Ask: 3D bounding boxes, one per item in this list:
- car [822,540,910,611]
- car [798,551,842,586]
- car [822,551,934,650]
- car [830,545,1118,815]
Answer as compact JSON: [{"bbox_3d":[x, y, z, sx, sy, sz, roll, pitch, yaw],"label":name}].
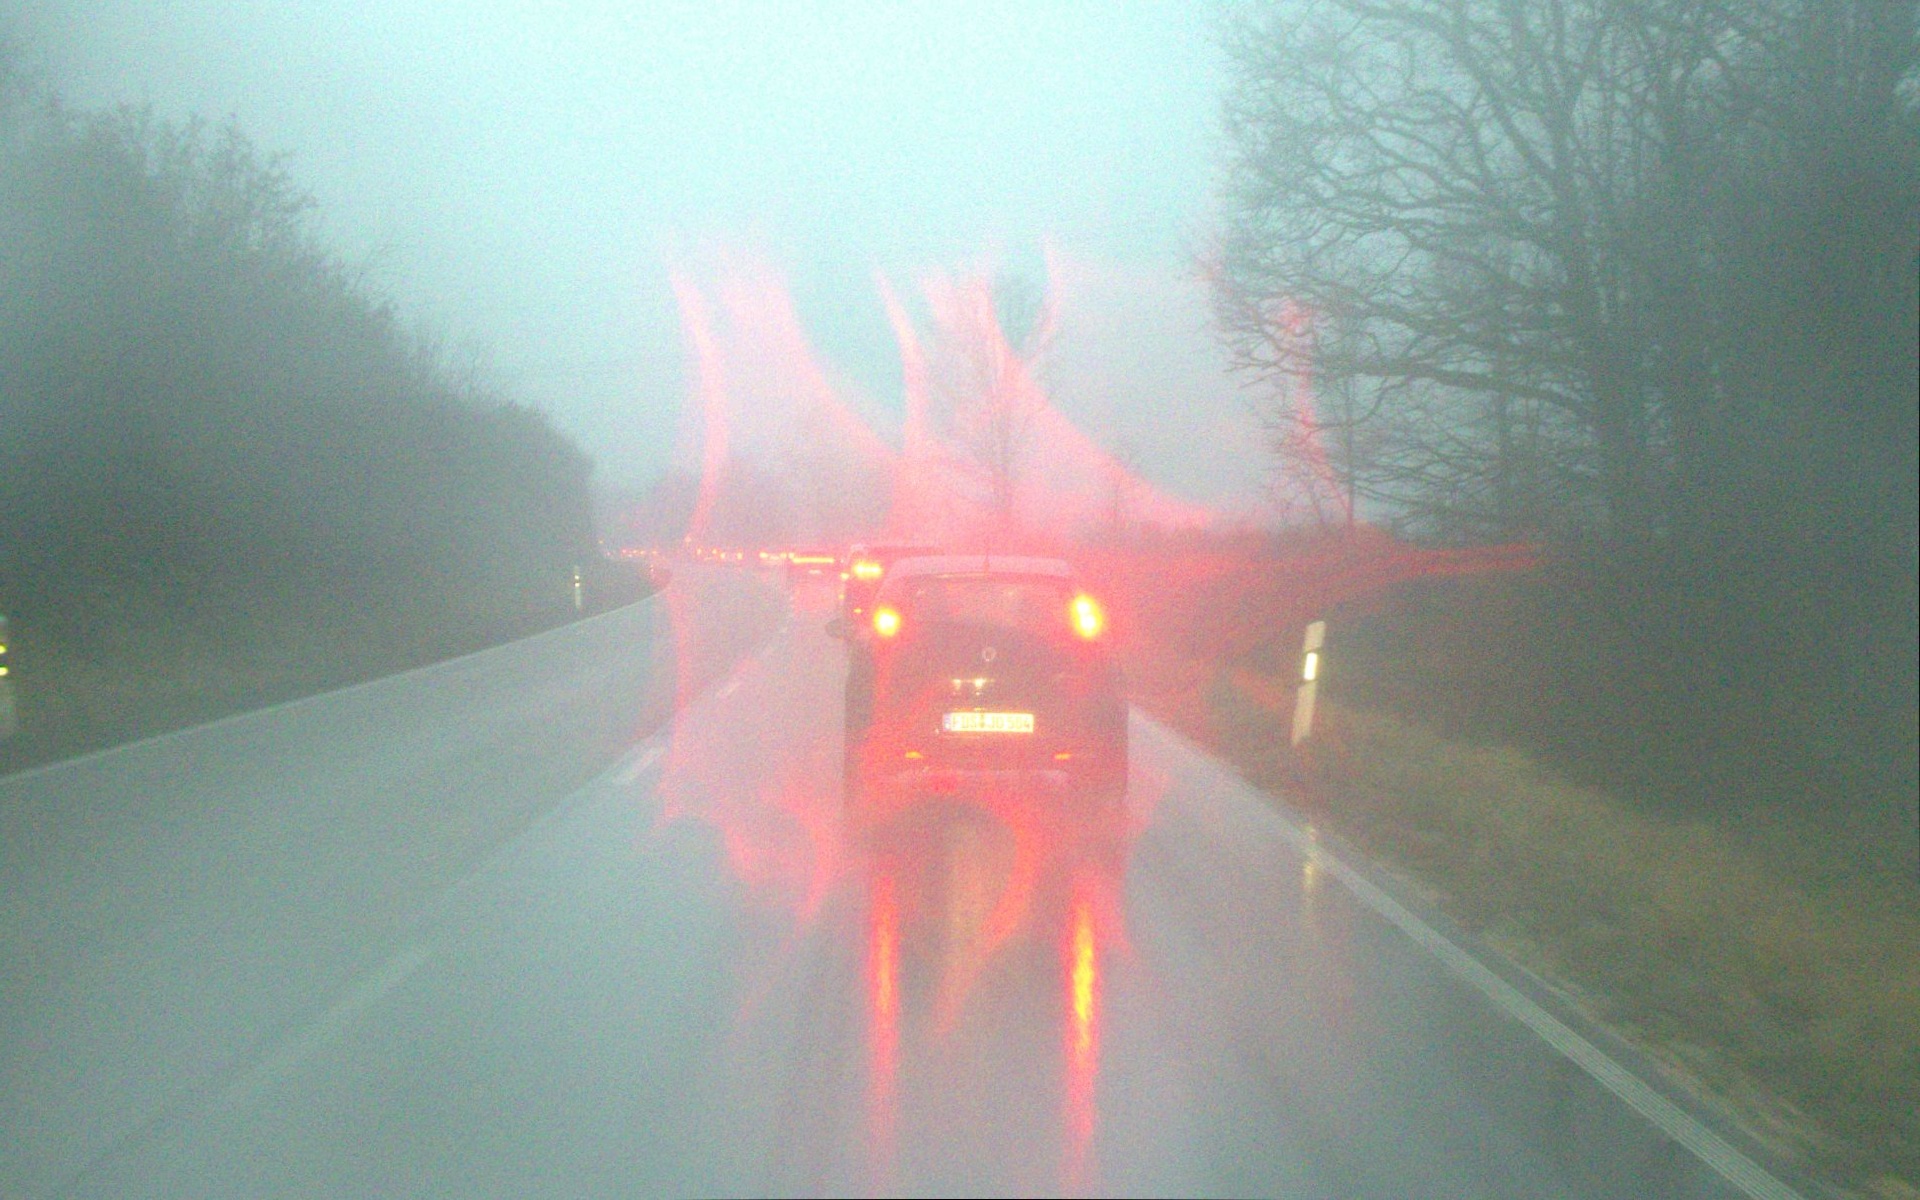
[{"bbox_3d":[-1.898,-0.517,70.580,1.547,1.392,3.869,1,1,2],"label":"car"},{"bbox_3d":[-5.674,-1.288,139.430,1.547,1.392,3.869,1,1,1],"label":"car"},{"bbox_3d":[-1.191,-0.018,51.205,1.547,1.392,3.869,1,1,0],"label":"car"},{"bbox_3d":[0.167,0.426,21.542,1.602,1.517,3.869,1,1,3],"label":"car"}]
